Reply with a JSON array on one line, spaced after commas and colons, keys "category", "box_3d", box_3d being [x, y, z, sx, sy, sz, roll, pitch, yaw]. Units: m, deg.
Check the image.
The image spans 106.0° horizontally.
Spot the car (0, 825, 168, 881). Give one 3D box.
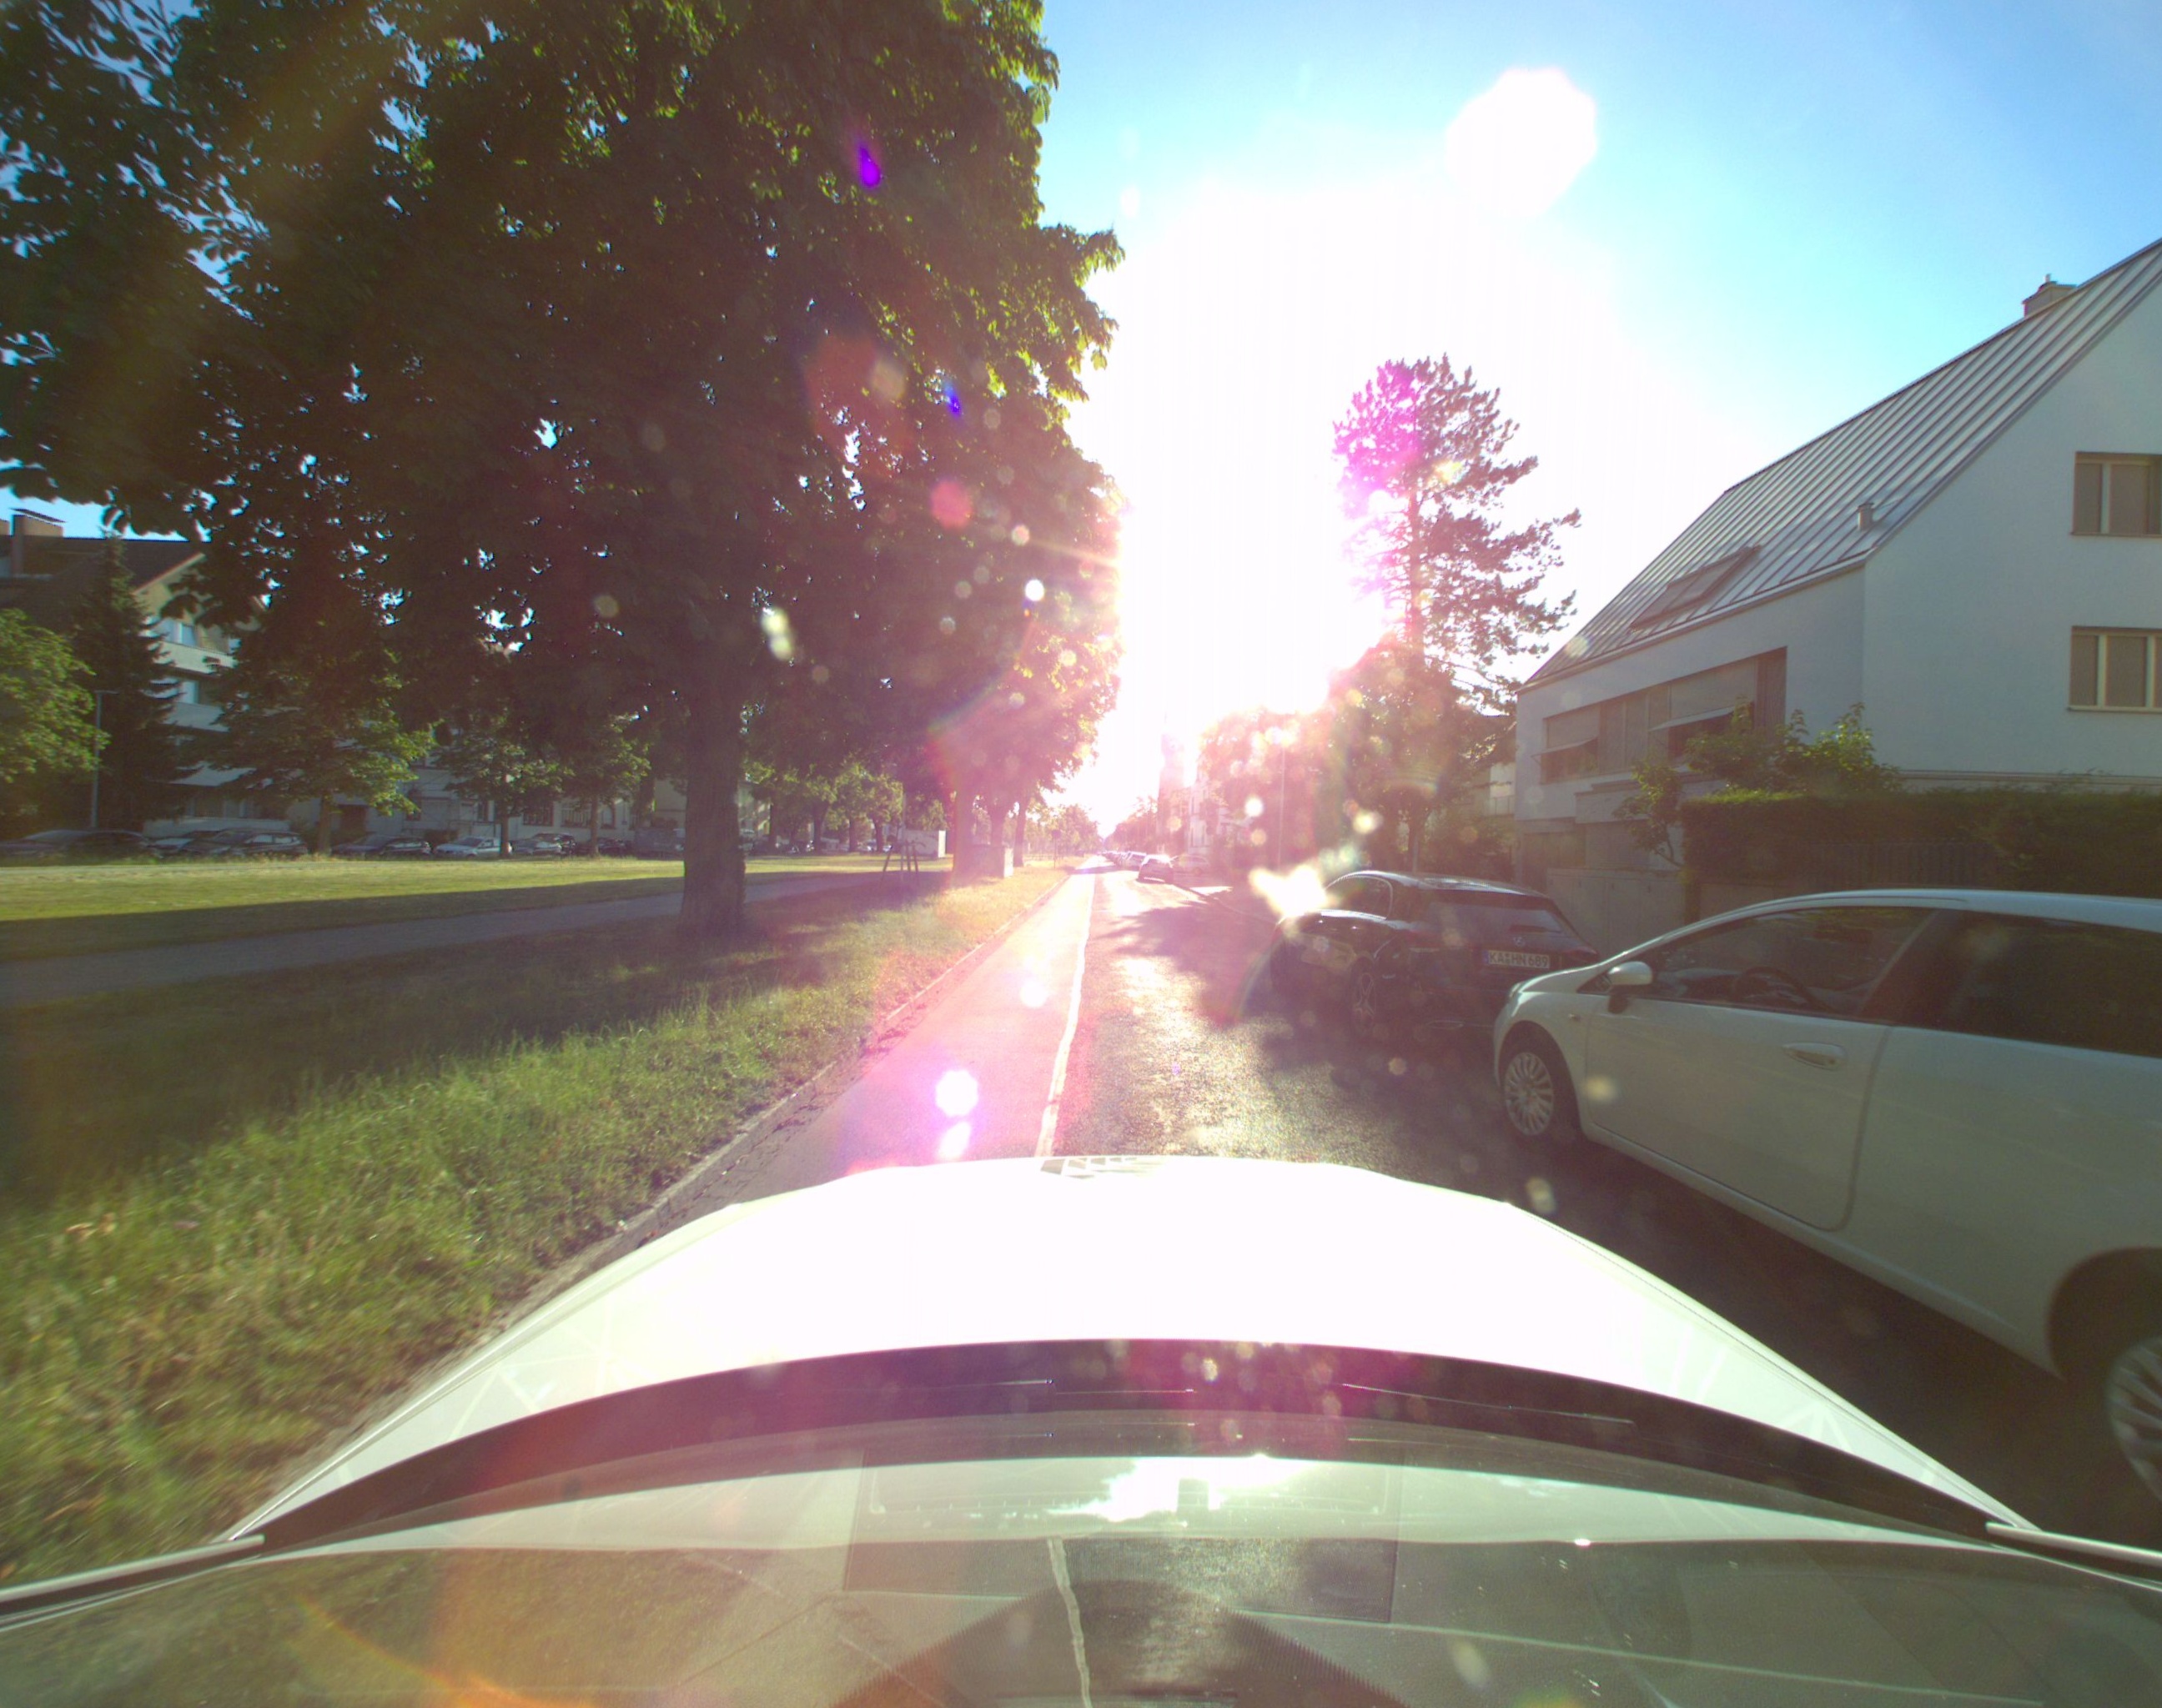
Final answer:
[{"category": "car", "box_3d": [-33.339, -0.047, 26.758, 1.985, 1.684, 4.004, 2, 0, 4]}]

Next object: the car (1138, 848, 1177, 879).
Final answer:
[{"category": "car", "box_3d": [4.185, 0.520, 45.304, 1.750, 1.420, 4.073, 8, 0, 2]}]

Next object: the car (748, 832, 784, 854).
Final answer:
[{"category": "car", "box_3d": [-31.879, -1.104, 82.551, 1.678, 2.176, 4.316, 1, 0, 2]}]

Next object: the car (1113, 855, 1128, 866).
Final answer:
[{"category": "car", "box_3d": [5.356, 0.833, 109.986, 1.986, 1.464, 4.002, 1, 0, 2]}]

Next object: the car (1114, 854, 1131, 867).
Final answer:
[{"category": "car", "box_3d": [5.001, 0.775, 99.191, 1.755, 1.521, 3.999, 3, 0, 0]}]

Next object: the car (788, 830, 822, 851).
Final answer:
[{"category": "car", "box_3d": [-31.628, -1.486, 93.624, 1.986, 2.250, 5.188, 1, 0, 1]}]

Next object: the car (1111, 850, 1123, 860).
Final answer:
[{"category": "car", "box_3d": [6.322, 0.148, 142.426, 1.986, 1.629, 4.002, 1, 0, 2]}]

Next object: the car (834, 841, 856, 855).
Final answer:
[{"category": "car", "box_3d": [-36.933, -0.928, 127.545, 1.986, 2.014, 4.485, -1, 0, 1]}]

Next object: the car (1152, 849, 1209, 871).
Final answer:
[{"category": "car", "box_3d": [7.188, 0.396, 59.105, 3.968, 1.420, 1.769, 2, 2, 4]}]

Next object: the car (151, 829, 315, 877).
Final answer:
[{"category": "car", "box_3d": [-33.004, -0.012, 31.881, 1.985, 1.684, 4.004, 2, 0, 4]}]

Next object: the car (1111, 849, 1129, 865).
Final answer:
[{"category": "car", "box_3d": [4.259, 0.328, 89.163, 1.753, 1.605, 4.358, 1, 0, 0]}]

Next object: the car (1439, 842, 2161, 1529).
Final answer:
[{"category": "car", "box_3d": [3.176, 0.787, 3.056, 1.687, 1.483, 3.925, 6, 0, -3]}]

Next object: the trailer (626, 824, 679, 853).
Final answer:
[{"category": "trailer", "box_3d": [-37.917, -1.293, 72.197, 1.986, 2.428, 4.726, 1, 0, 2]}]

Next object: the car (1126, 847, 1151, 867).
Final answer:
[{"category": "car", "box_3d": [4.810, 0.266, 68.542, 1.753, 1.605, 4.358, 1, 0, 0]}]

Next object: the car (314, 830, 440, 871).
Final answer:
[{"category": "car", "box_3d": [-32.807, -0.128, 38.115, 1.985, 1.721, 4.258, 2, 0, 2]}]

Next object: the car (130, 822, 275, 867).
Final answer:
[{"category": "car", "box_3d": [-38.696, -0.392, 36.046, 1.988, 1.783, 3.998, 2, 0, -1]}]

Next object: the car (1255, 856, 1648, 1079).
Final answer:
[{"category": "car", "box_3d": [3.117, 0.818, 7.965, 1.744, 1.477, 4.286, 3, 0, -1]}]

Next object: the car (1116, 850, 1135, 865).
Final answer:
[{"category": "car", "box_3d": [4.541, 0.319, 83.497, 1.755, 1.420, 4.000, 2, 1, 0]}]

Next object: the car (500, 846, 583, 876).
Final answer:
[{"category": "car", "box_3d": [-32.305, 0.425, 48.935, 1.985, 1.649, 4.258, 2, 0, 2]}]

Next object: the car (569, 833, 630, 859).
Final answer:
[{"category": "car", "box_3d": [-38.371, -0.611, 65.012, 1.987, 1.952, 4.750, 1, 0, 0]}]

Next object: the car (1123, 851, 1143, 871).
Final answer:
[{"category": "car", "box_3d": [4.742, 0.616, 74.773, 1.679, 1.651, 4.101, 2, 1, 1]}]

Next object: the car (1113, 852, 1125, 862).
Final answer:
[{"category": "car", "box_3d": [6.334, 0.455, 136.140, 1.986, 1.629, 4.002, 1, 0, 2]}]

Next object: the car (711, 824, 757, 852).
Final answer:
[{"category": "car", "box_3d": [-37.739, -1.686, 88.816, 2.429, 2.922, 5.819, -1, -1, 1]}]

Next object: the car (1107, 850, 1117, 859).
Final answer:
[{"category": "car", "box_3d": [6.491, 0.144, 170.488, 1.973, 1.683, 4.002, 1, 0, 2]}]

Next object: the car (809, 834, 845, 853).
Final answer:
[{"category": "car", "box_3d": [-31.501, -1.319, 101.145, 2.525, 2.236, 5.461, 1, 1, 2]}]

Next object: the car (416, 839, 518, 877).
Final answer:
[{"category": "car", "box_3d": [-32.759, 0.194, 43.633, 1.985, 1.860, 4.258, 2, 0, 2]}]

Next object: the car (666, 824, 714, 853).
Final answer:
[{"category": "car", "box_3d": [-37.607, -1.444, 78.489, 1.986, 2.672, 5.189, 1, 0, 2]}]
